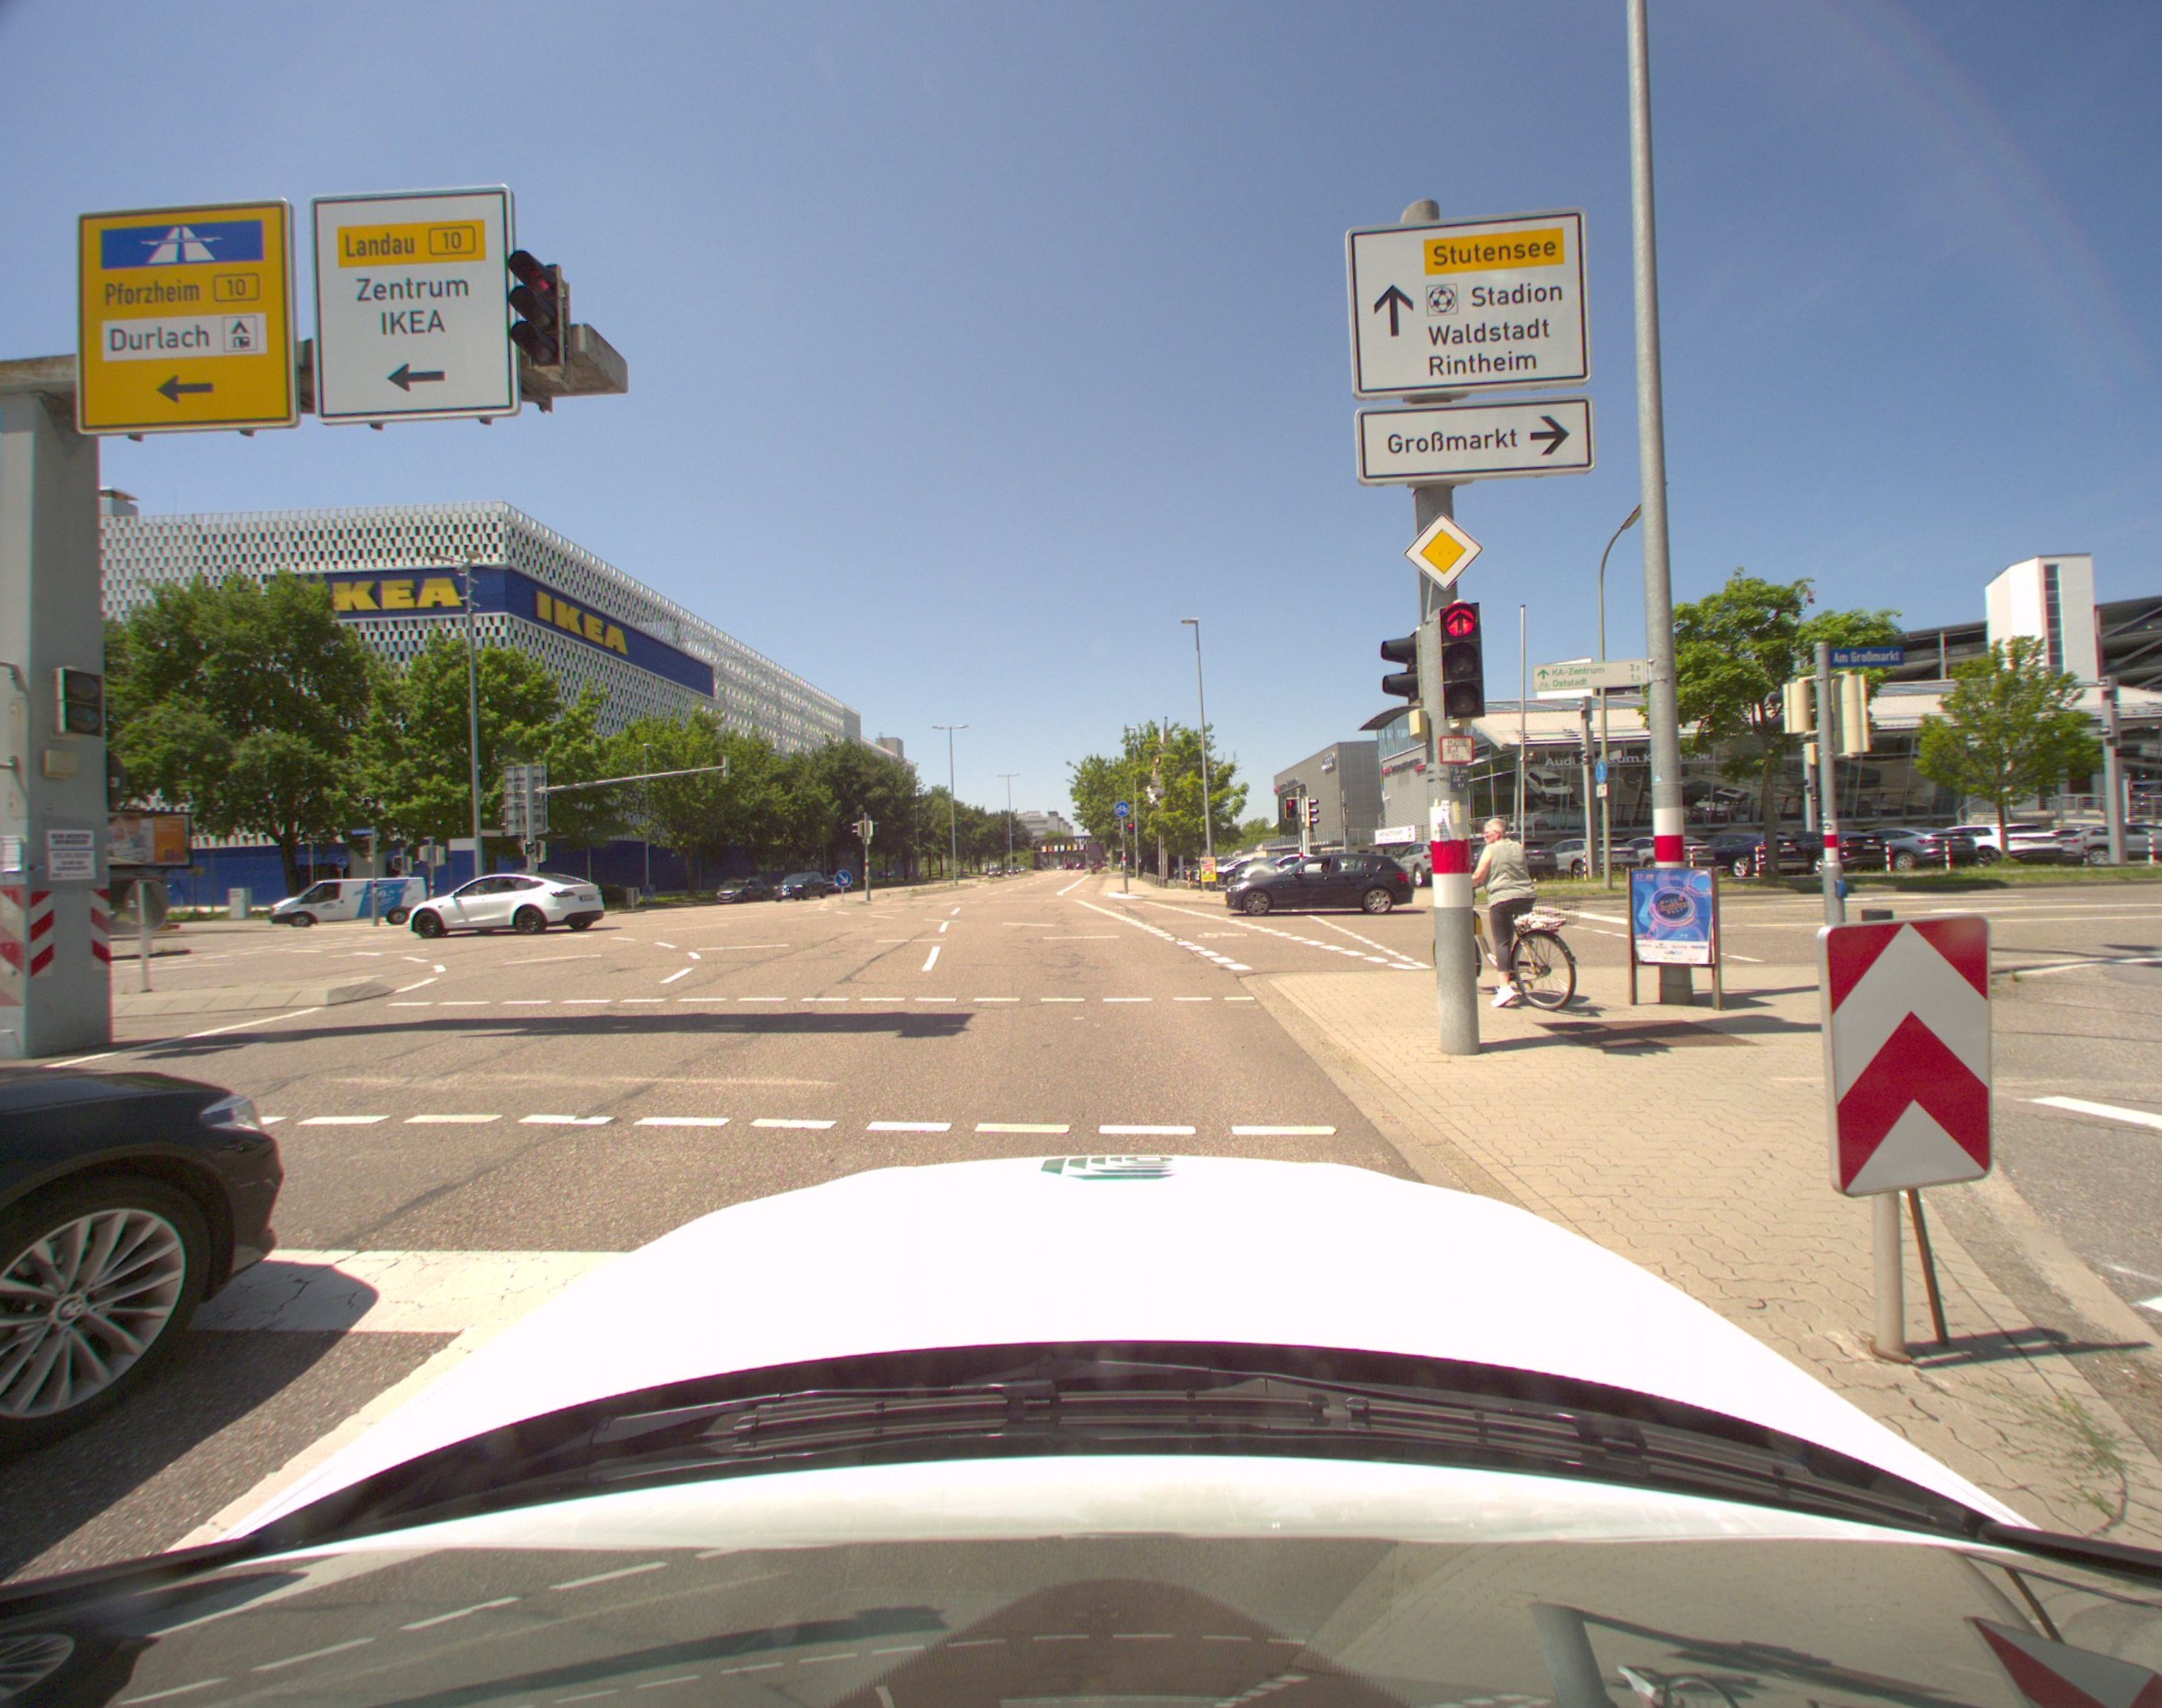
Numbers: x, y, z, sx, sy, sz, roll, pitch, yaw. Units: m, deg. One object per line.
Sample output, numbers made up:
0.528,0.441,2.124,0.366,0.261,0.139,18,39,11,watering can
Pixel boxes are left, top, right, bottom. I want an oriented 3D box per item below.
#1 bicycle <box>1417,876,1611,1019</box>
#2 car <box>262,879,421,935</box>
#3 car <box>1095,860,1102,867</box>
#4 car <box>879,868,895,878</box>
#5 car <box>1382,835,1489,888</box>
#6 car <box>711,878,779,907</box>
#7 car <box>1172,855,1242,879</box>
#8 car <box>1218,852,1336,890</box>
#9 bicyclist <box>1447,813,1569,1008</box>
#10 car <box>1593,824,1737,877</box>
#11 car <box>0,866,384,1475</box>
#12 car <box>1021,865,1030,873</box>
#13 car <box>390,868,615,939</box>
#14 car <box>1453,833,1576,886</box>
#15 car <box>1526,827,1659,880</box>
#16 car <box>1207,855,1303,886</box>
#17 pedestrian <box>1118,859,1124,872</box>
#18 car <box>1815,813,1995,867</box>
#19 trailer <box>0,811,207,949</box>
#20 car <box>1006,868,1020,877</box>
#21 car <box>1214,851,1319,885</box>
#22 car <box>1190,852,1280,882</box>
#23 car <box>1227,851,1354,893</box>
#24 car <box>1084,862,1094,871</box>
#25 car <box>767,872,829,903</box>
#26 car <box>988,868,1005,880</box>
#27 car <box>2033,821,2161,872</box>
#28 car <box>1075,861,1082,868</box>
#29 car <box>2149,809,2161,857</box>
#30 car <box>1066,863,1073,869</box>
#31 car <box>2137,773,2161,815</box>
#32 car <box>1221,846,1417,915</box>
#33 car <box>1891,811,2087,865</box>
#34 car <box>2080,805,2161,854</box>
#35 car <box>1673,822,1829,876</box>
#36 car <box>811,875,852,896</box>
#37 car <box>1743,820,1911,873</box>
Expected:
4.055,0.813,7.840,0.784,1.127,1.919,-1,0,-2,bicycle
-30.925,2.166,34.171,4.792,2.008,1.975,-2,-1,-45,car
4.761,2.619,220.889,1.765,1.728,4.001,-3,-1,2,car
-39.640,3.899,166.843,1.984,1.810,4.034,0,0,5,car
12.417,0.240,28.829,1.986,1.639,4.270,-2,0,2,car
-21.525,2.469,52.305,1.754,1.533,3.777,-3,0,27,car
9.080,0.928,58.906,4.726,1.457,2.000,-3,0,0,car
8.525,0.748,35.763,4.721,1.457,2.002,-2,-2,3,car
4.025,0.507,7.732,0.732,1.749,0.753,-1,0,-3,bicyclist
20.337,-0.109,28.659,1.878,1.639,4.526,-3,0,2,car
-3.558,0.789,0.737,1.793,1.466,4.624,-1,0,1,car
-11.761,3.193,171.952,1.645,1.653,4.160,-2,-1,-2,car
-15.254,1.280,21.614,4.654,1.588,2.004,-3,-1,7,car
15.092,0.165,28.683,1.986,1.639,4.559,-2,0,2,car
17.940,-0.021,28.867,1.986,1.639,4.443,-3,0,2,car
9.280,0.878,43.679,4.726,1.457,2.000,-2,0,0,car
4.616,1.331,93.856,0.665,1.510,0.736,-2,-1,1,pedestrian
28.553,-0.452,28.469,1.821,1.639,4.476,-3,0,2,car
-34.786,0.976,26.713,9.563,4.081,3.100,-3,-1,6,trailer
-11.132,2.969,133.547,1.678,1.411,3.666,-3,-1,2,car
8.976,0.652,39.700,4.721,1.457,2.002,-2,0,3,car
8.750,0.726,46.495,4.726,1.457,2.000,-2,0,0,car
8.465,0.714,33.220,4.721,1.457,2.002,-2,0,3,car
1.049,1.644,105.486,1.133,1.042,2.309,-2,0,2,car
-16.557,1.927,47.922,1.868,1.598,4.498,-3,-1,2,car
-11.370,2.653,109.831,1.725,1.427,3.707,-4,-1,2,car
39.058,-0.275,30.719,3.665,1.777,1.759,-3,-1,28,car
-0.631,2.851,220.050,1.765,1.728,4.001,-3,-1,2,car
39.458,-0.811,26.916,4.705,1.639,1.844,-3,0,24,car
-3.250,3.275,225.724,1.765,1.728,4.001,-3,-1,2,car
54.979,-3.059,39.581,1.989,2.013,3.995,-2,-1,-3,car
5.494,0.621,19.160,4.194,1.411,1.677,-2,-1,12,car
31.192,-0.517,28.216,1.821,1.639,4.476,-3,0,2,car
46.667,-1.101,35.402,3.728,2.014,1.866,-2,-1,11,car
23.192,-0.169,28.465,1.821,1.639,4.476,-3,0,2,car
-21.371,2.676,69.802,1.918,1.665,4.094,-3,-1,4,car
25.888,-0.248,28.501,1.821,1.639,4.476,-2,0,2,car
